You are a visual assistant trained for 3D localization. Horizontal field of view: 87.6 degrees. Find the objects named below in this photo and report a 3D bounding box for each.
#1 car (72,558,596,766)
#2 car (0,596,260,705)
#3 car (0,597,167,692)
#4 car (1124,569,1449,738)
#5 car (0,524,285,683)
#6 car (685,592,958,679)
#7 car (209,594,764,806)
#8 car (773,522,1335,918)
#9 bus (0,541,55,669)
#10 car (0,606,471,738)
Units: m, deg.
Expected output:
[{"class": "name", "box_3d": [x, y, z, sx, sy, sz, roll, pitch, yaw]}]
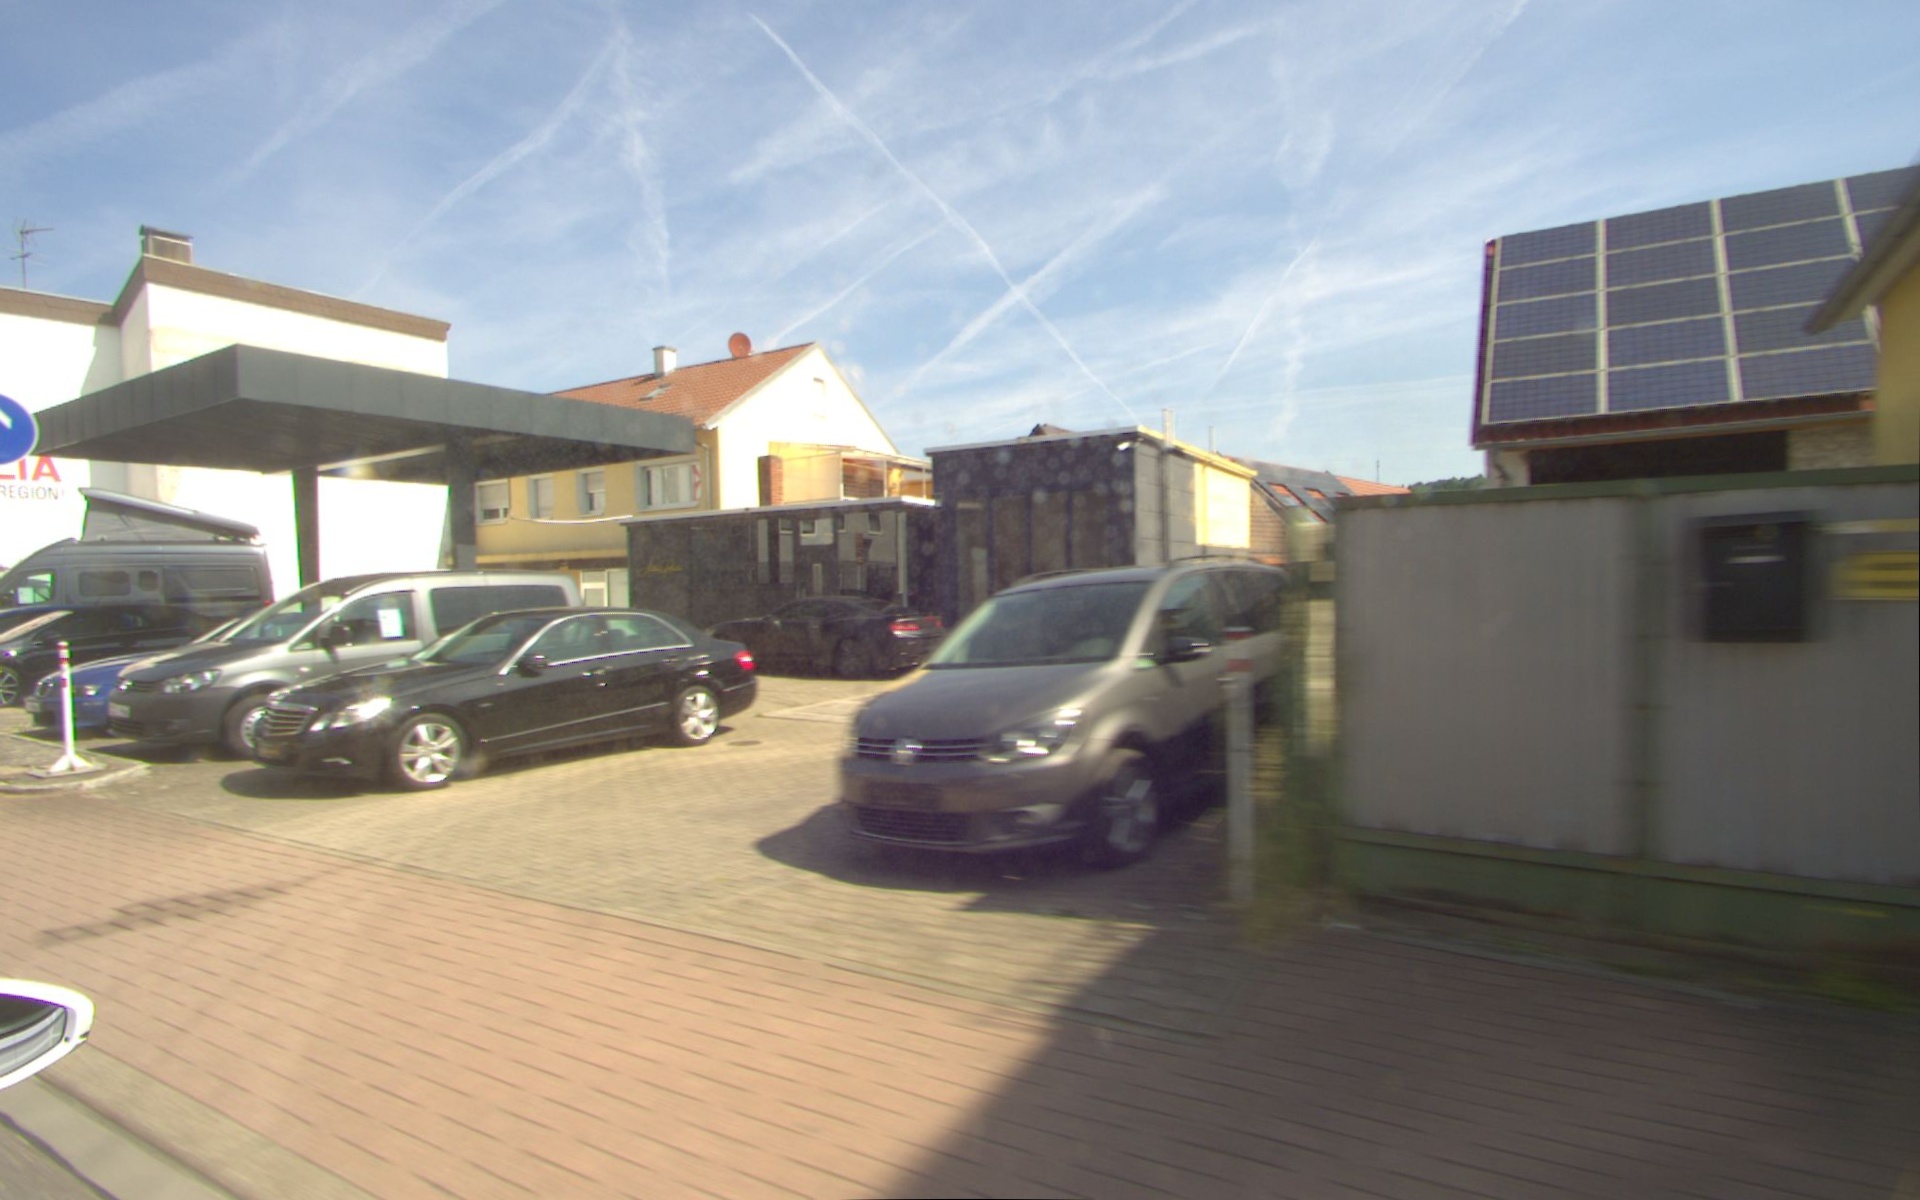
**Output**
[{"class": "car", "box_3d": [-6.692, 0.487, 11.287, 1.938, 1.835, 4.621, 2, 2, 34]}, {"class": "car", "box_3d": [-13.756, 0.736, 15.763, 1.704, 1.501, 4.148, 0, 1, 34]}, {"class": "car", "box_3d": [-16.487, 0.767, 17.498, 1.558, 1.549, 3.794, 0, 1, 29]}, {"class": "car", "box_3d": [4.003, 0.471, 11.763, 1.965, 1.528, 4.514, -1, 1, 42]}, {"class": "car", "box_3d": [-17.716, 0.036, 20.815, 5.907, 3.027, 2.299, -2, 2, -38]}, {"class": "car", "box_3d": [-2.493, 0.574, 17.710, 4.676, 1.365, 1.756, -1, 1, 29]}, {"class": "car", "box_3d": [-4.295, 0.740, 9.893, 1.885, 1.518, 4.621, 0, 1, 34]}, {"class": "car", "box_3d": [0.956, 0.570, 6.714, 1.716, 1.768, 4.311, -1, -1, 38]}, {"class": "bus", "box_3d": [-24.240, 0.214, 21.620, 2.199, 2.944, 6.544, -1, 1, 34]}, {"class": "car", "box_3d": [-8.953, 0.761, 12.763, 1.939, 1.284, 4.524, 0, 1, 34]}]
